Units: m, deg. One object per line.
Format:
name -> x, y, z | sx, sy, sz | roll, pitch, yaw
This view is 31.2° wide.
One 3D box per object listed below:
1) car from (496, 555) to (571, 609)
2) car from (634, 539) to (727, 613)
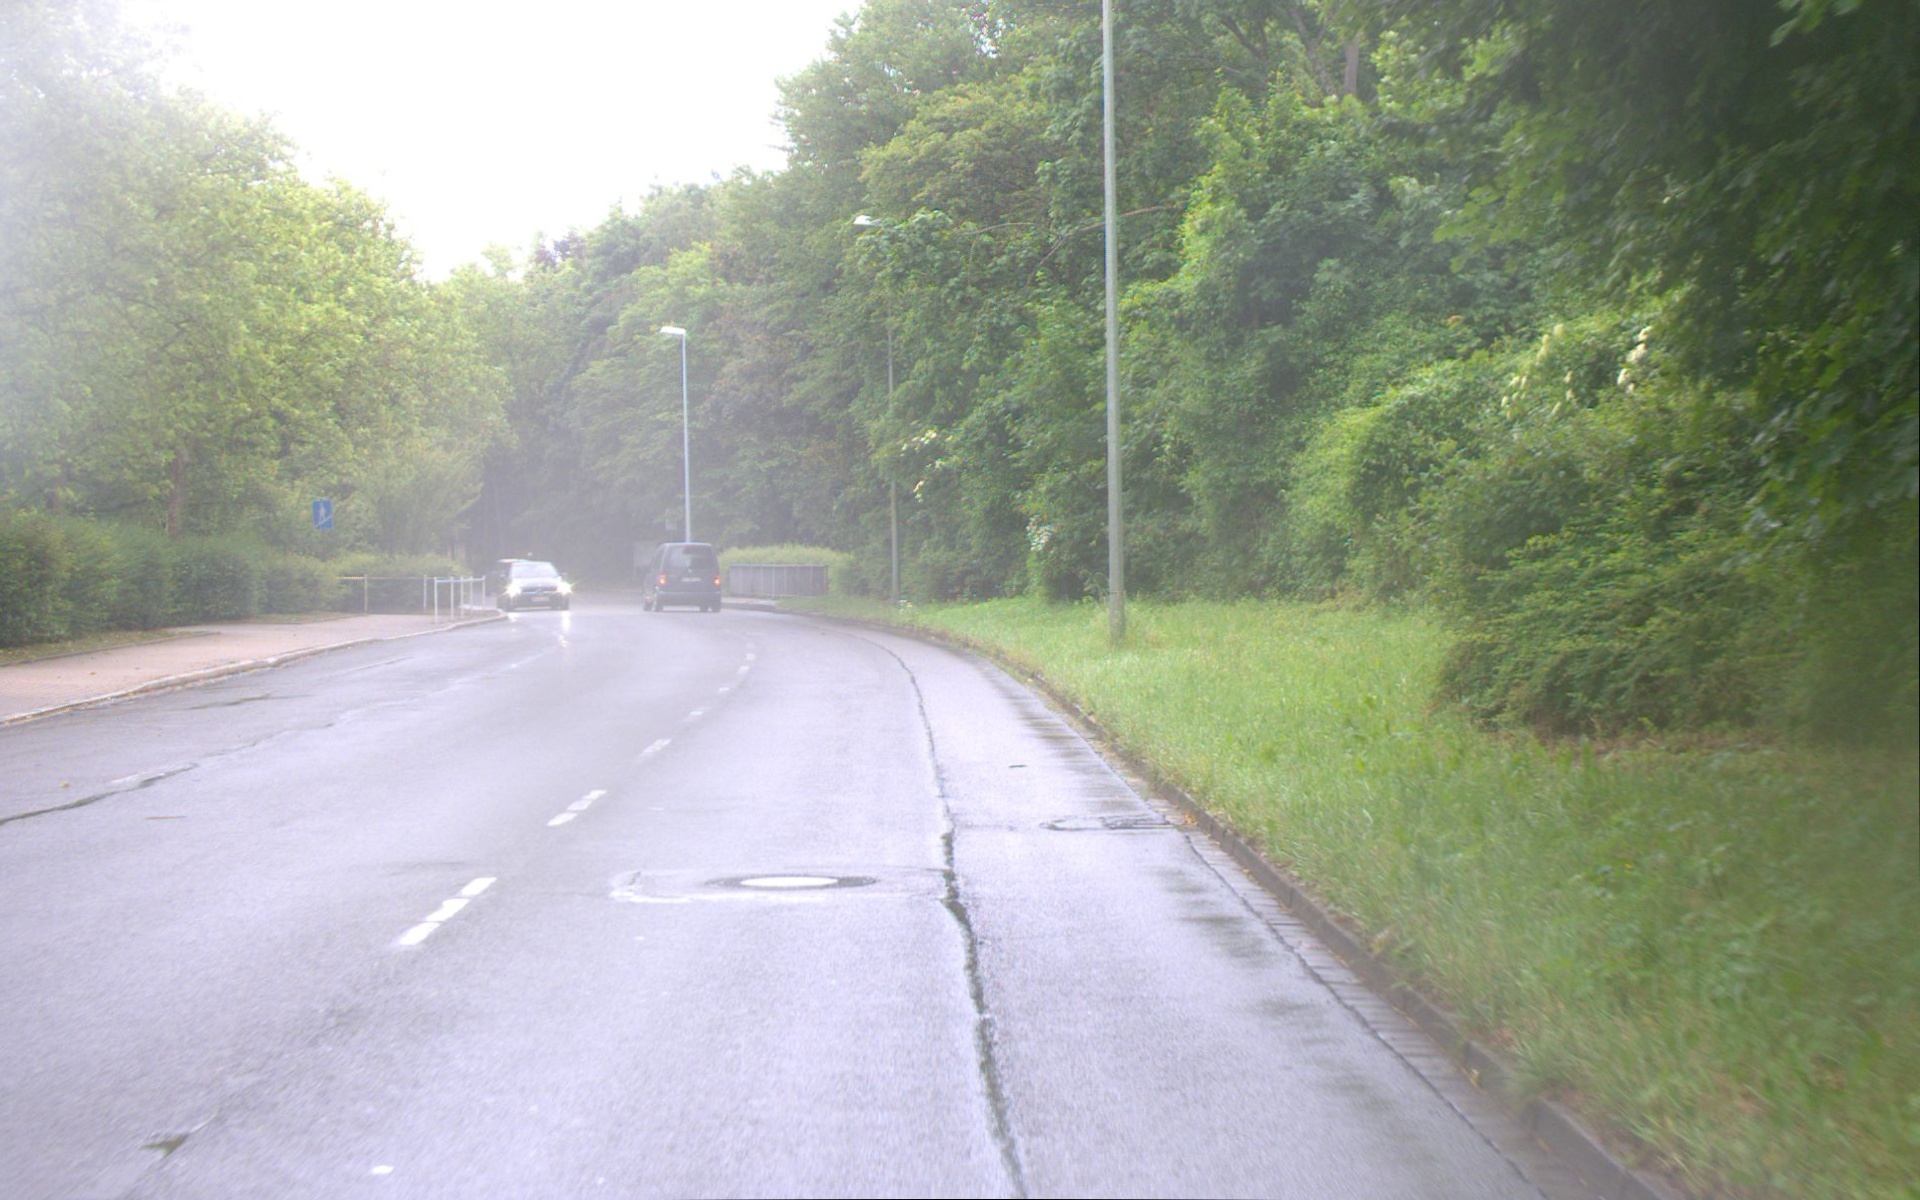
car -> -12.340, -0.523, 99.320 | 1.826, 1.460, 4.001 | -2, 1, -11
car -> -7.516, -0.664, 92.034 | 1.985, 1.919, 4.001 | 0, 1, -12
